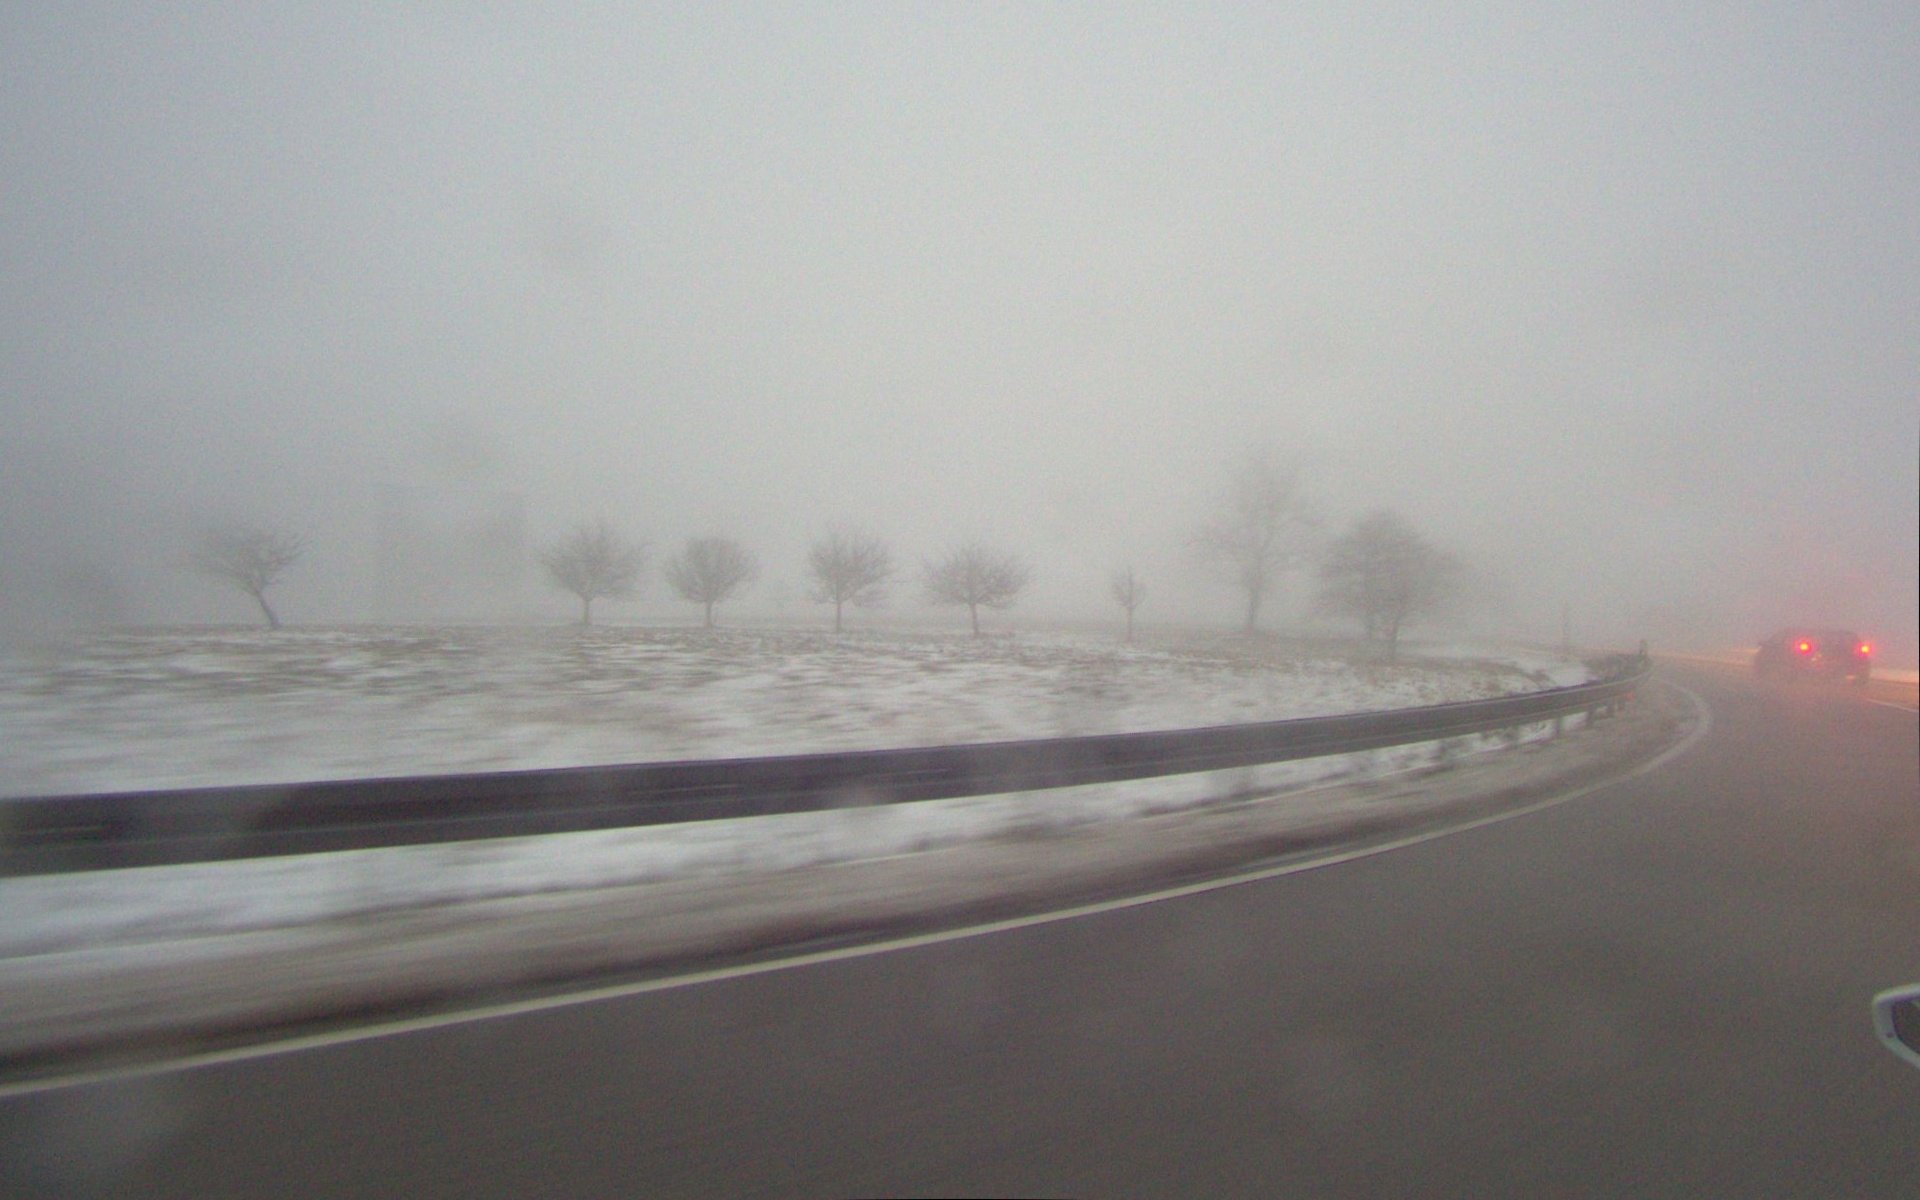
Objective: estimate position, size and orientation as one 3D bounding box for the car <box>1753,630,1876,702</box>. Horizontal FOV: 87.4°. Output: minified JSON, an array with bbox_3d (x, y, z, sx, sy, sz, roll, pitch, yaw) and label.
[{"bbox_3d":[23.651,1.784,27.975,1.965,1.806,3.992,0,-2,31],"label":"car"}]
